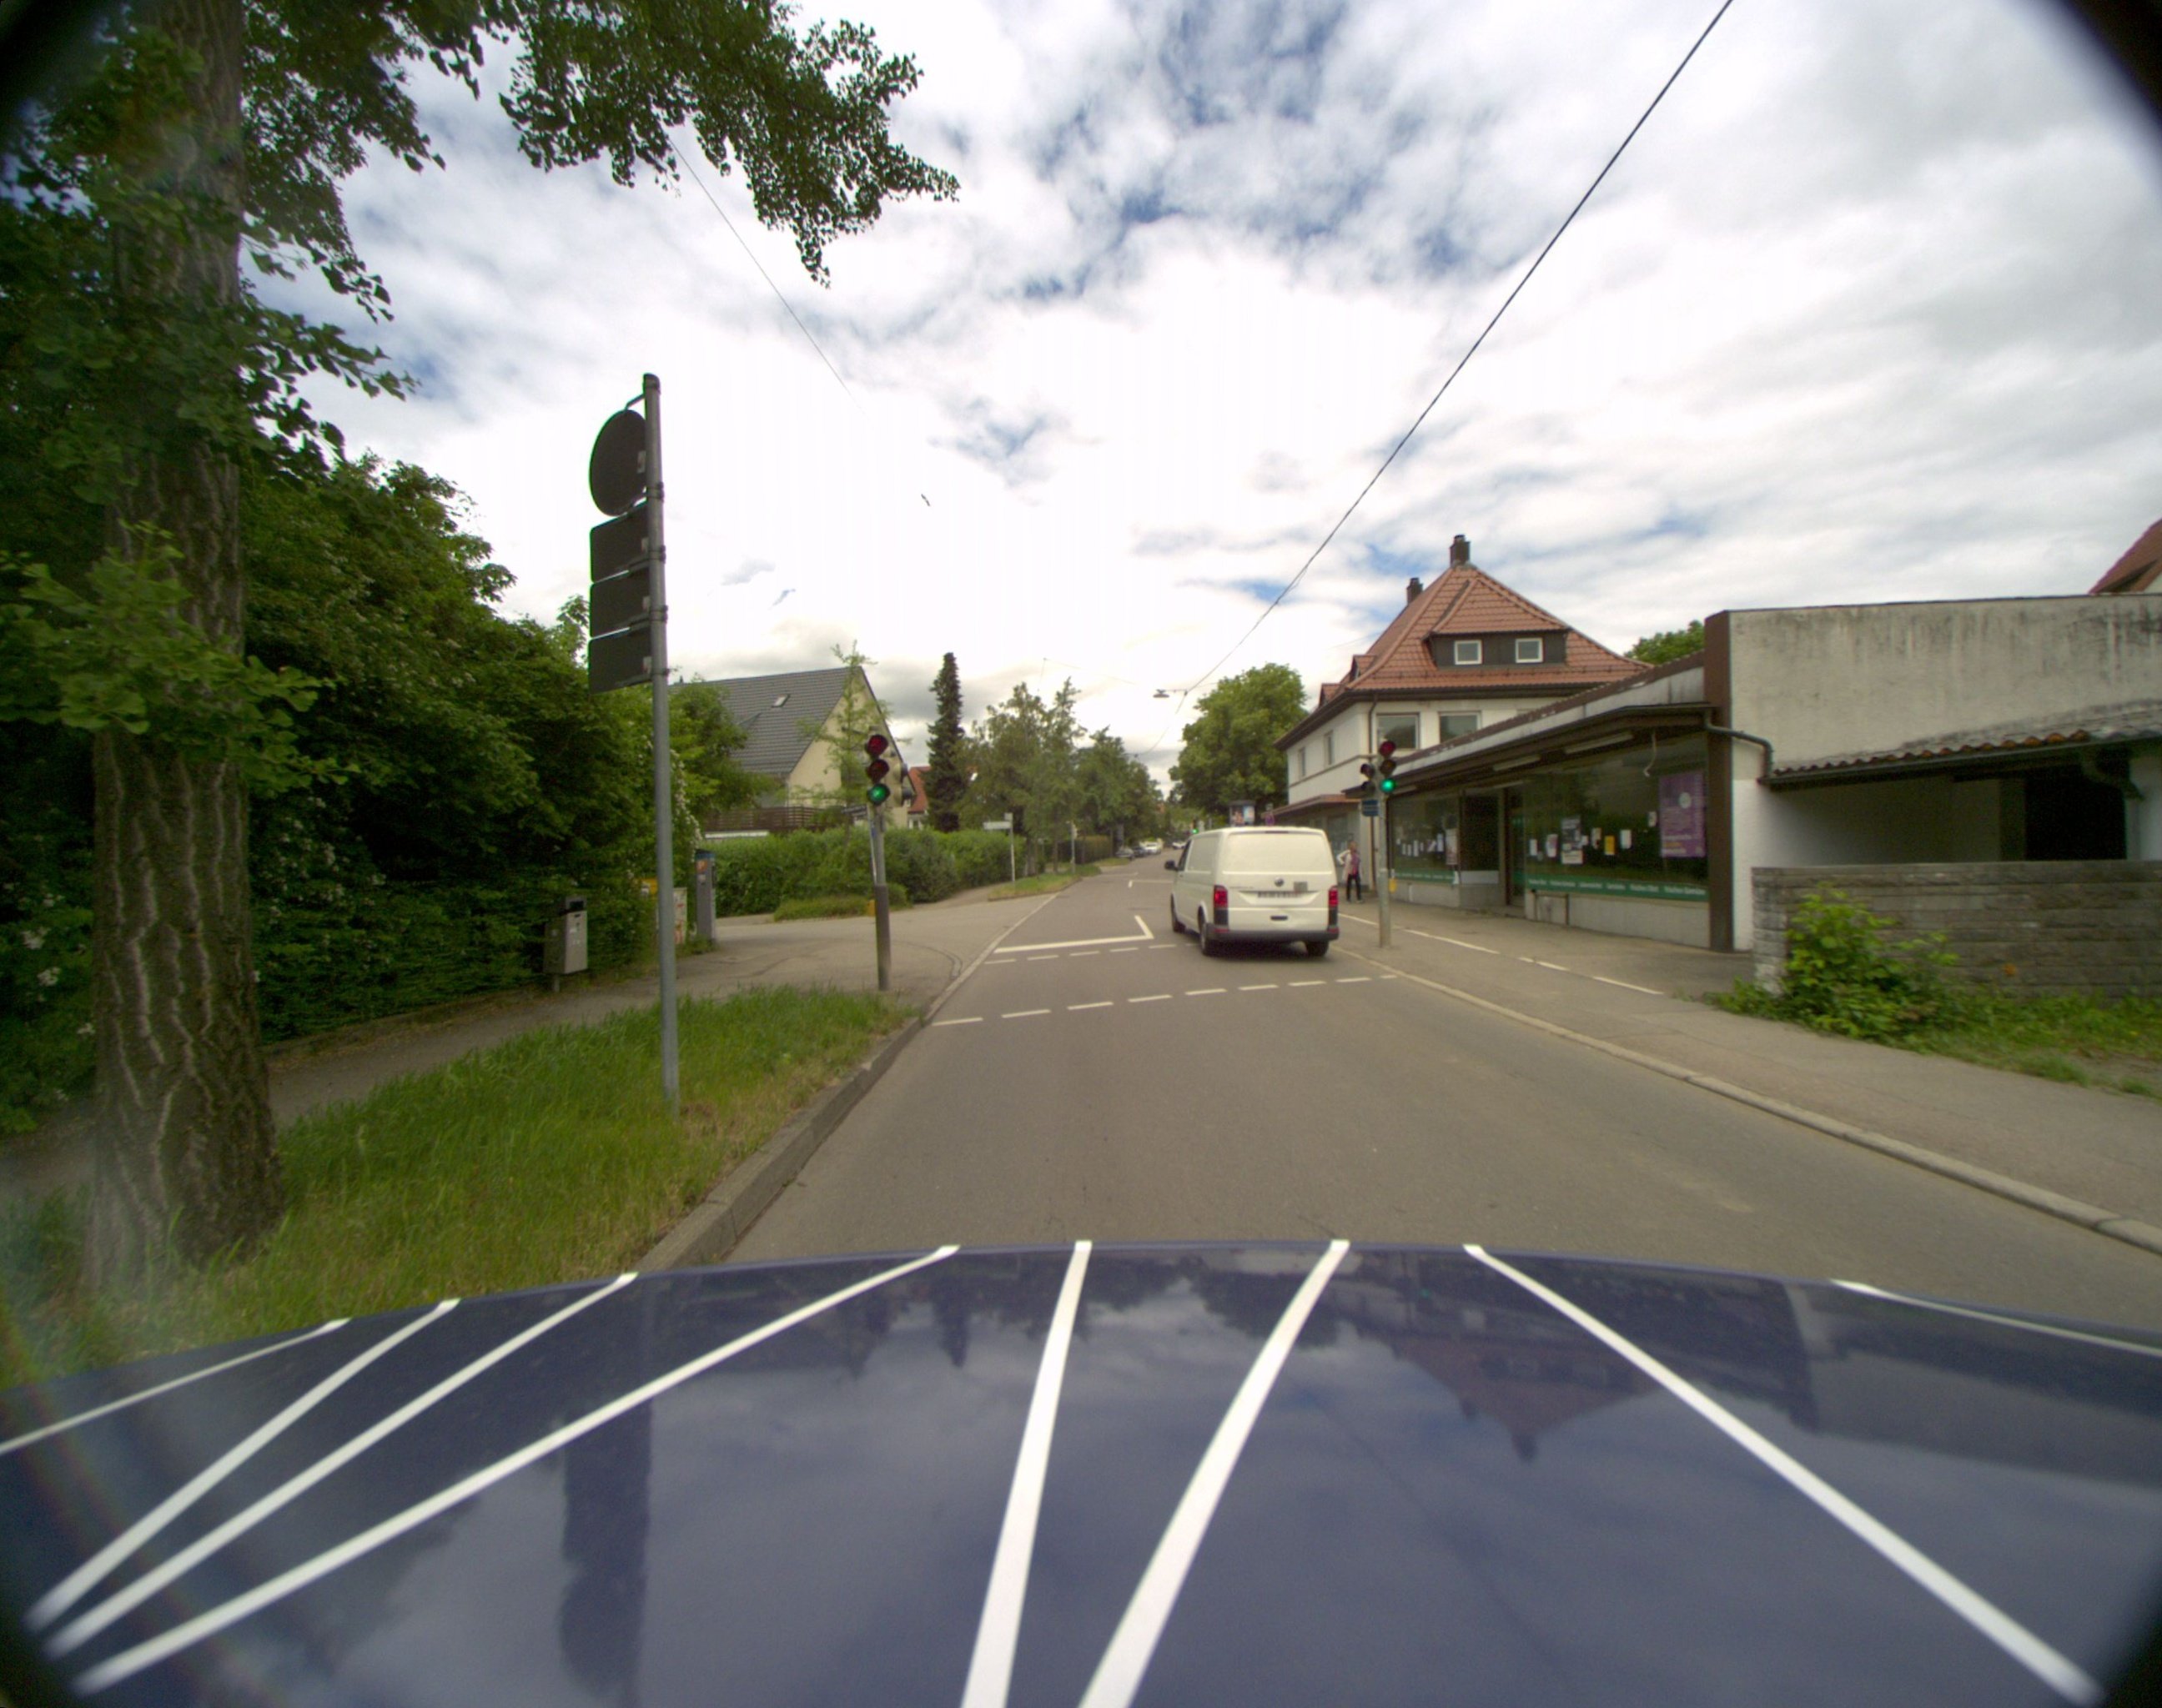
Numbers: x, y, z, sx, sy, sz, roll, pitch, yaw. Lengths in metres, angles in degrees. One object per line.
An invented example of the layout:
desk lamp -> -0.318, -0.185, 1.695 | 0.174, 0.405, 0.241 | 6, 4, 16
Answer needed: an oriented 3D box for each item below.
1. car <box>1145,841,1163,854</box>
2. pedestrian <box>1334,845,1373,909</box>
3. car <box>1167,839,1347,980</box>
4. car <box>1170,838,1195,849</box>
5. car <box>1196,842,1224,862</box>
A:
car -> 10.322, -0.890, 107.779 | 1.998, 1.687, 3.999 | -4, 1, 0
pedestrian -> 7.750, 0.651, 21.657 | 0.822, 1.735, 0.604 | -4, 2, 1
car -> 2.684, 0.719, 12.834 | 1.885, 1.905, 4.832 | 1, 1, 0
car -> 17.844, -1.888, 133.780 | 3.993, 1.729, 2.001 | -3, 1, 13
car -> 11.484, -0.212, 67.726 | 1.771, 1.668, 3.999 | -4, 1, 0
